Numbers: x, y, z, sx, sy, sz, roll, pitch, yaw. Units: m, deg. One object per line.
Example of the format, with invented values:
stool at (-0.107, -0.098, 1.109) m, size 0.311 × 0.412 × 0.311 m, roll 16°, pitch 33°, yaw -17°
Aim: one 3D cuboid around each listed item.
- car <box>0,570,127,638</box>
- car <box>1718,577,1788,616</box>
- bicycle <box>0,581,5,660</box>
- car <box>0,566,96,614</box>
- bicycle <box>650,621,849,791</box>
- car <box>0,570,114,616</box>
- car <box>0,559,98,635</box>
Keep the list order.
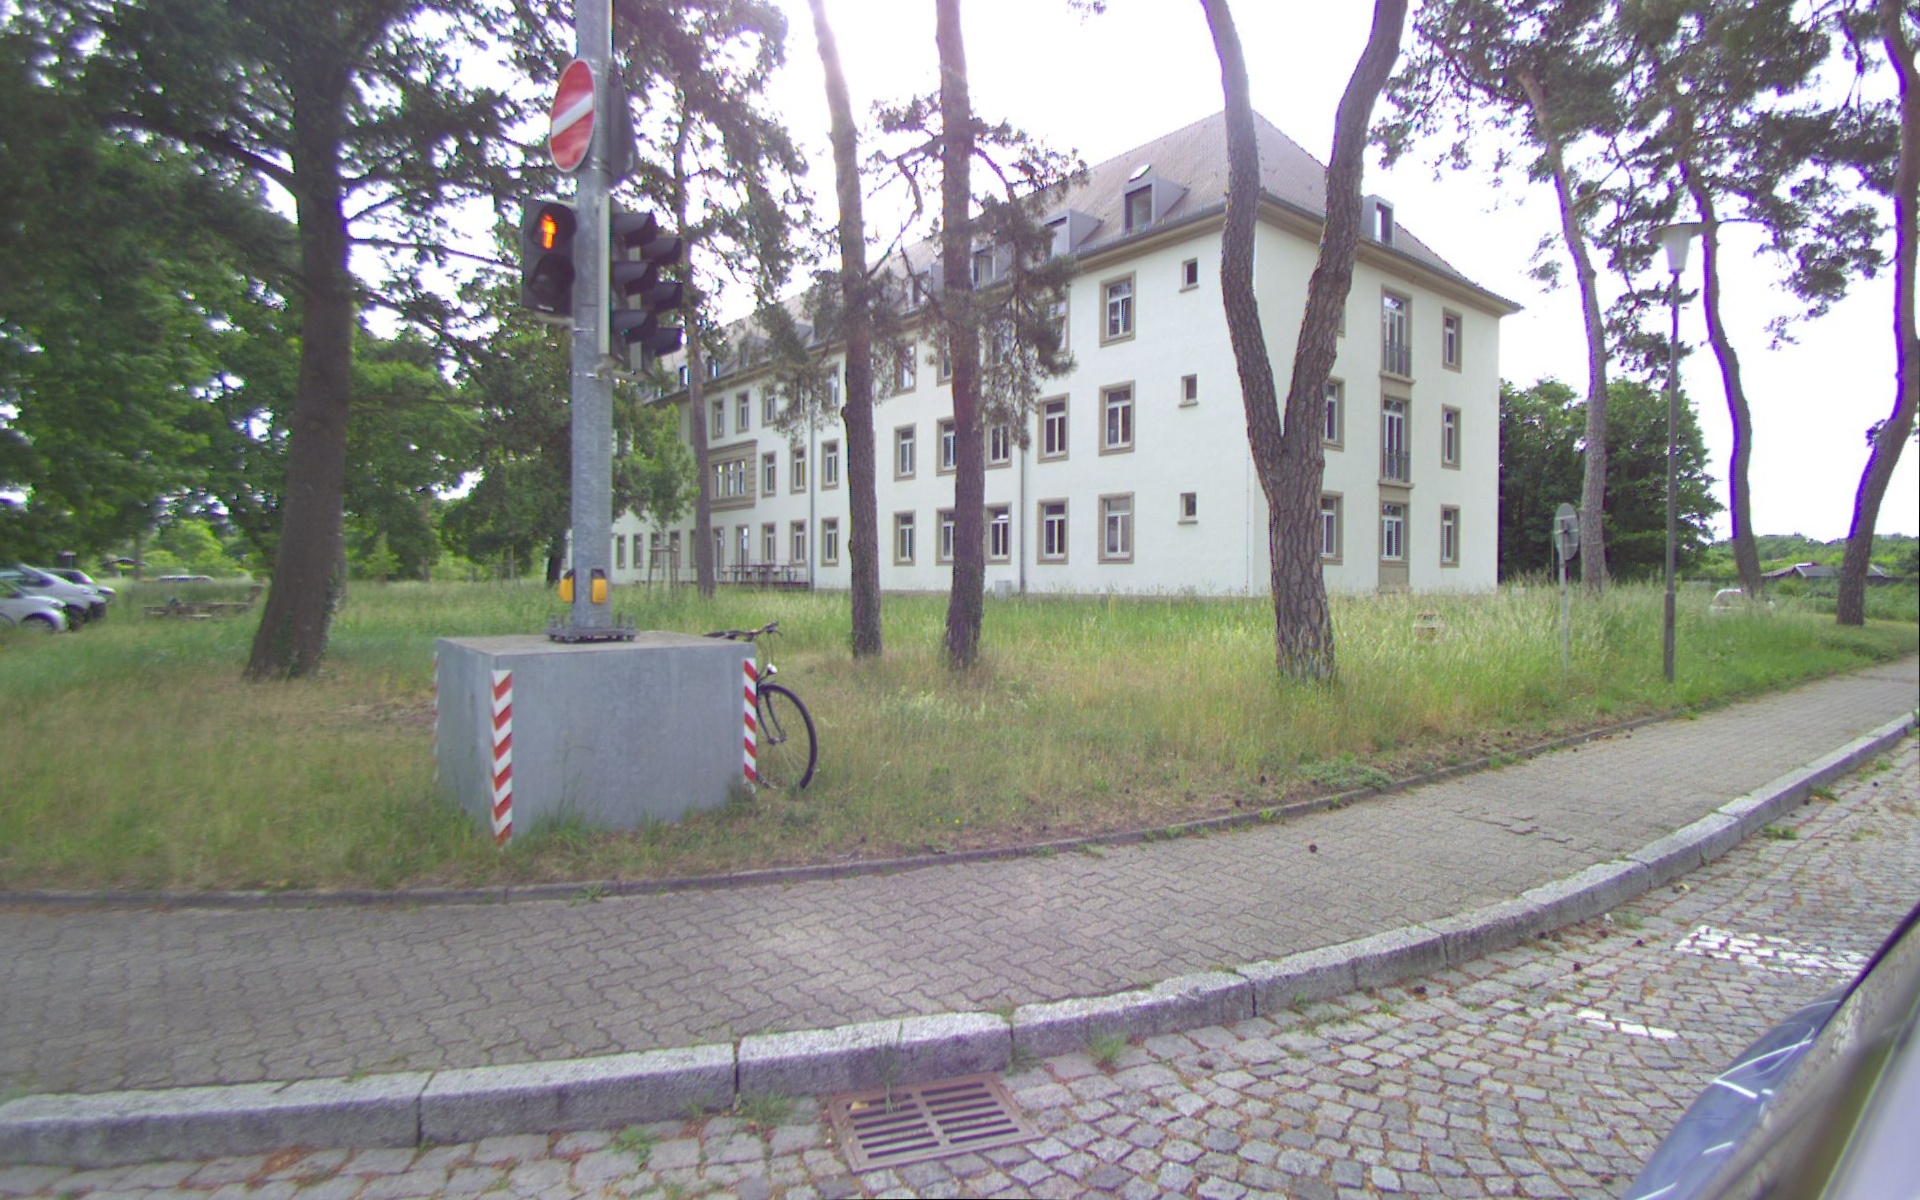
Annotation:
car at (-22.372, 0.066, 24.091) m, size 3.859 × 1.549 × 1.861 m, roll -1°, pitch 1°, yaw -38°
car at (32.969, -0.170, 42.073) m, size 3.221 × 1.451 × 1.640 m, roll -4°, pitch 3°, yaw -39°
bicycle at (-17.170, 0.364, 16.622) m, size 2.091 × 1.336 × 0.556 m, roll -1°, pitch 1°, yaw -35°
car at (-36.413, -0.395, 39.047) m, size 4.611 × 1.795 × 1.998 m, roll -1°, pitch 1°, yaw -39°
bicycle at (-1.414, 0.619, 6.565) m, size 0.562 × 0.885 × 1.704 m, roll 0°, pitch 1°, yaw -39°
car at (-33.865, -0.285, 37.005) m, size 4.436 × 1.638 × 1.998 m, roll -1°, pitch 1°, yaw -39°
car at (-25.465, -0.076, 25.893) m, size 2.226 × 1.933 × 4.802 m, roll 1°, pitch 1°, yaw 35°
